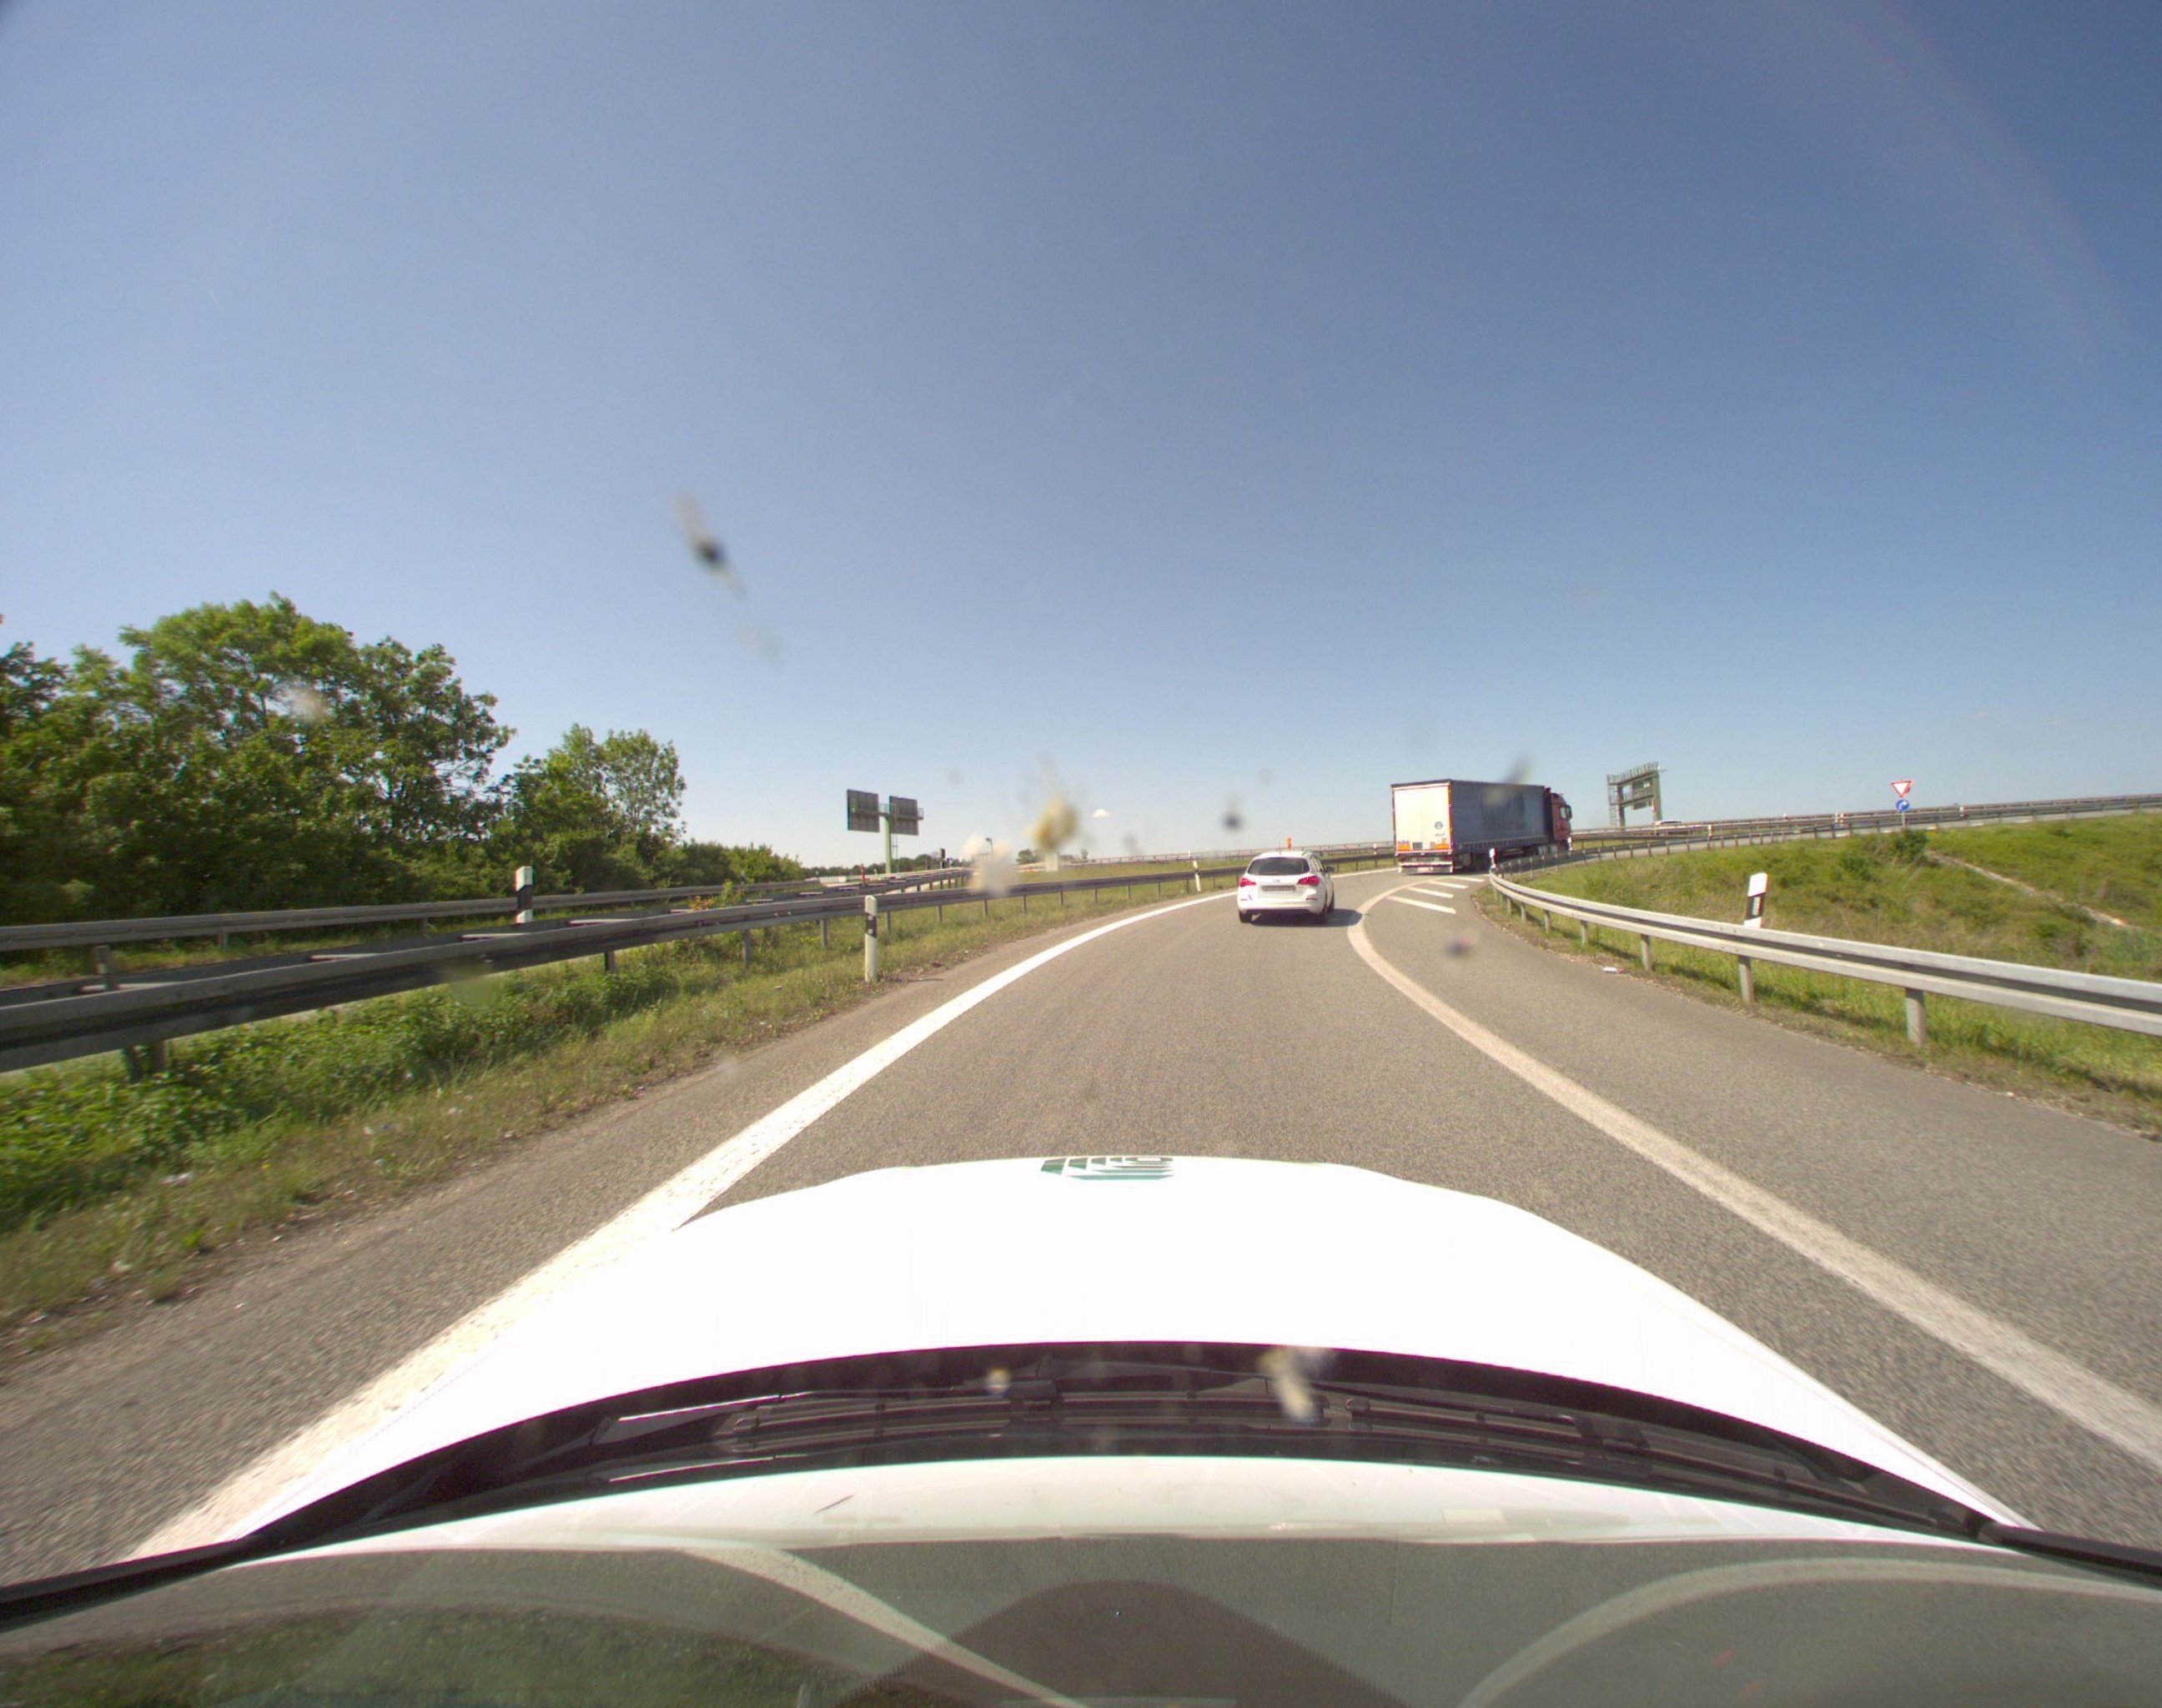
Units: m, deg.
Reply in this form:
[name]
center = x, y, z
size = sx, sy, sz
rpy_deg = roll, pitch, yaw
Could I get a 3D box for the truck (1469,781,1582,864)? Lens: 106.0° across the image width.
[truck]
center = 24.213, -1.688, 44.217
size = 6.962, 4.145, 2.888
rpy_deg = -2, 0, -40

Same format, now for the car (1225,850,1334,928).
[car]
center = 4.512, 0.691, 18.034
size = 1.839, 1.443, 4.393
rpy_deg = -3, 0, 19

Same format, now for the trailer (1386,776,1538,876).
[trailer]
center = 18.435, -1.304, 38.815
size = 2.885, 4.145, 11.325
rpy_deg = -2, 0, 44
